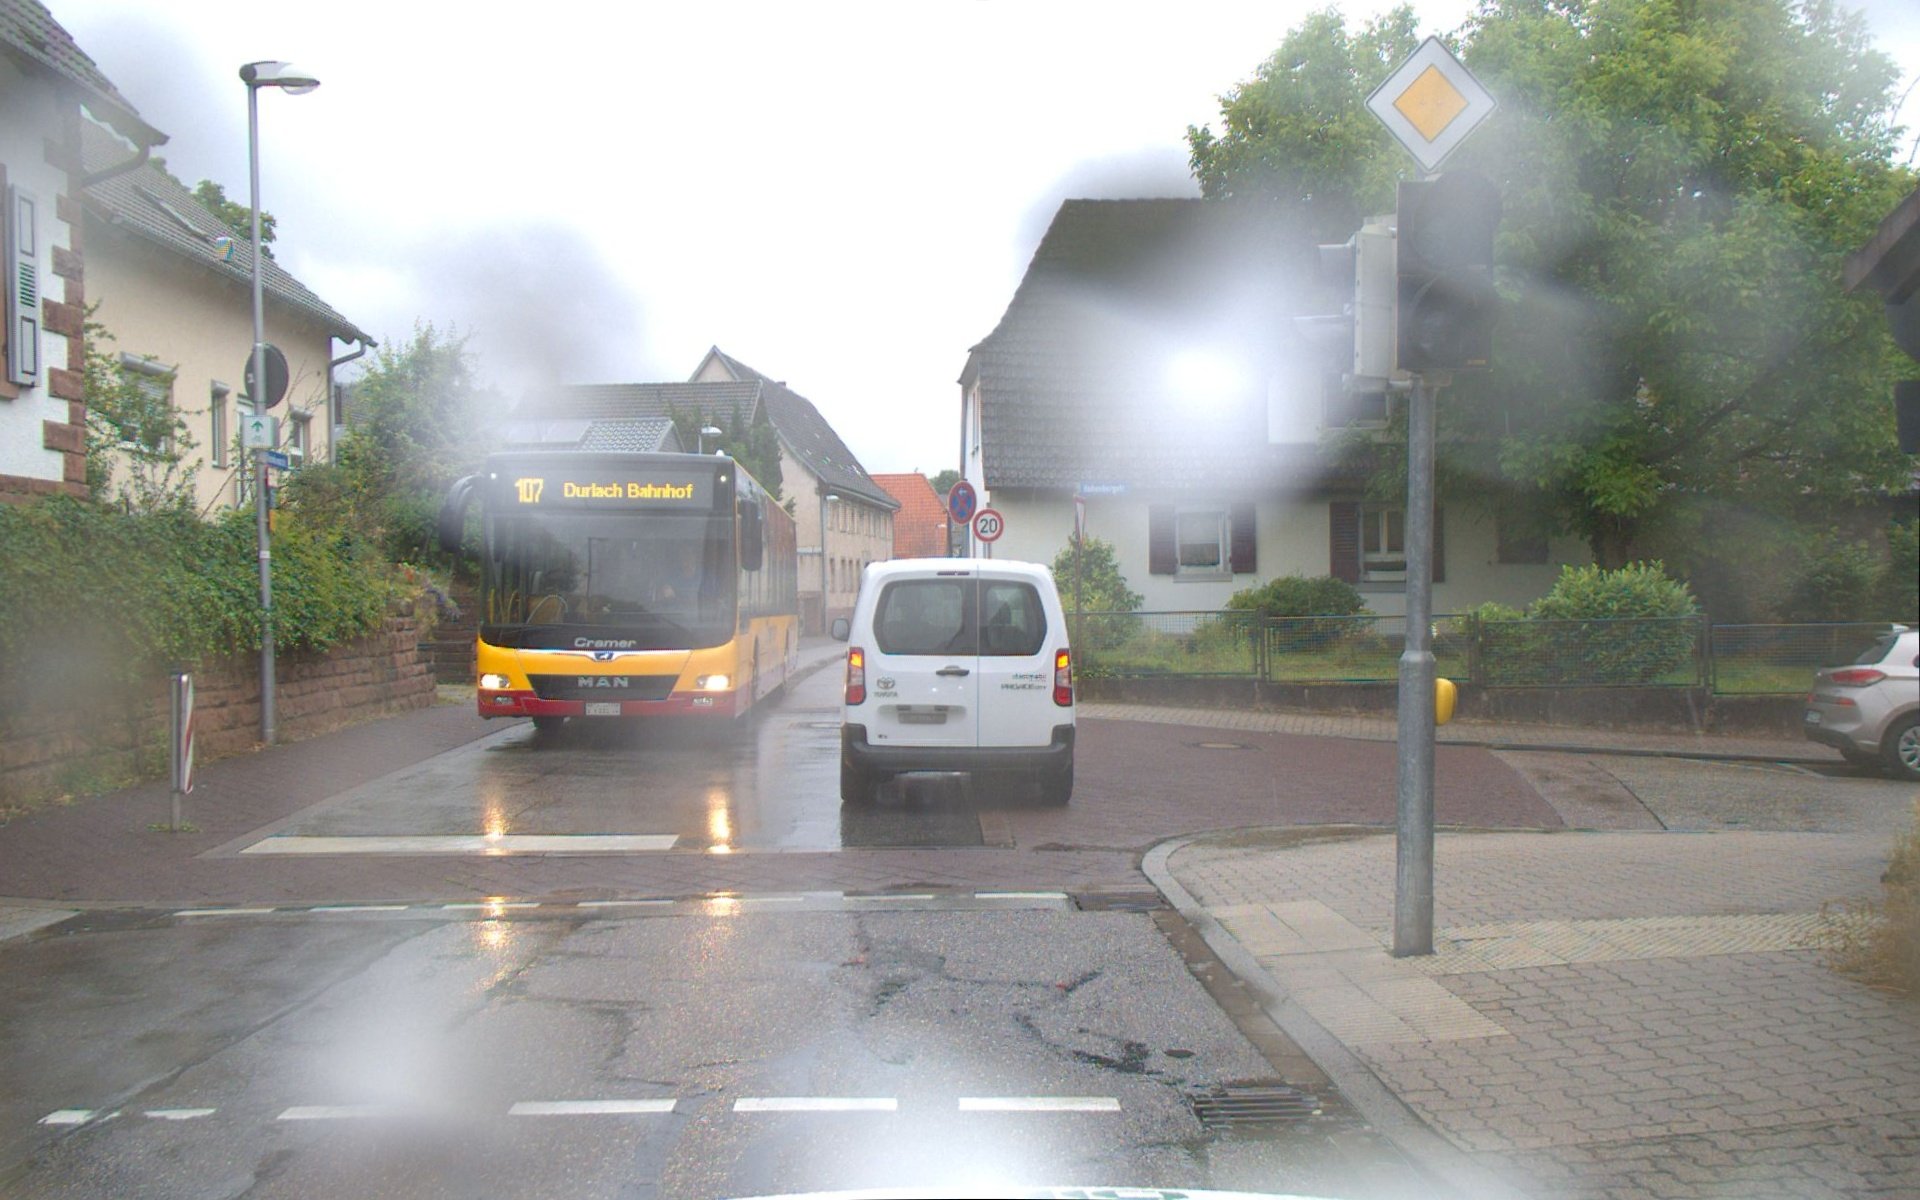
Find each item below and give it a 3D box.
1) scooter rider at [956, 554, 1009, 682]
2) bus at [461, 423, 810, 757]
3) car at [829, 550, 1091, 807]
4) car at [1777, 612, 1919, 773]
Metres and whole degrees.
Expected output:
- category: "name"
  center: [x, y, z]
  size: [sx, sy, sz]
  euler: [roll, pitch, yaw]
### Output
- category: "scooter rider"
  center: [0.316, 0.249, 23.194]
  size: [0.716, 1.763, 0.518]
  euler: [-1, 1, 0]
- category: "bus"
  center: [-3.525, -0.251, 21.282]
  size: [2.596, 3.052, 12.188]
  euler: [0, 1, -3]
- category: "car"
  center: [-0.060, 0.562, 13.728]
  size: [1.856, 1.825, 3.812]
  euler: [1, 0, -2]
- category: "car"
  center: [10.346, 0.920, 16.177]
  size: [3.902, 1.492, 1.785]
  euler: [1, -1, 13]
